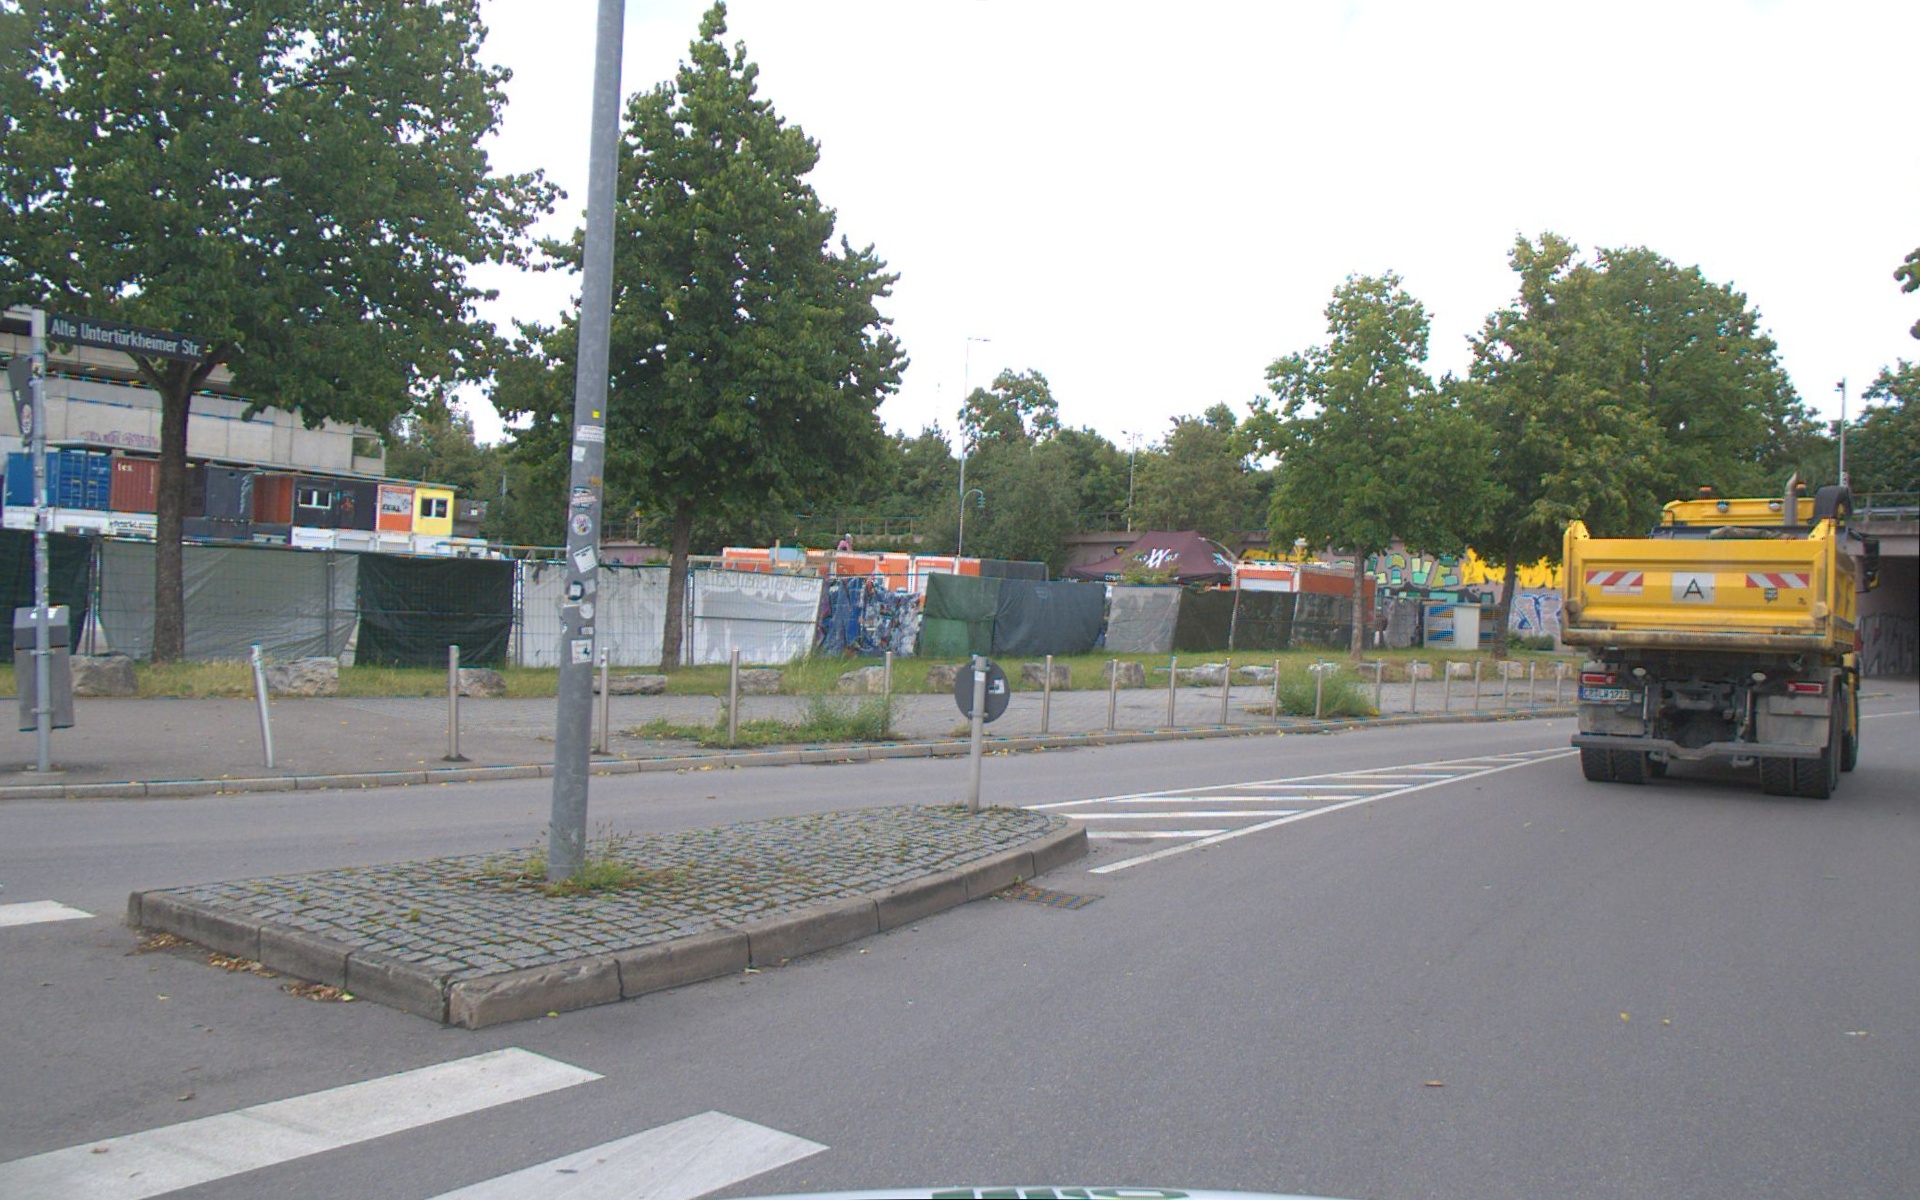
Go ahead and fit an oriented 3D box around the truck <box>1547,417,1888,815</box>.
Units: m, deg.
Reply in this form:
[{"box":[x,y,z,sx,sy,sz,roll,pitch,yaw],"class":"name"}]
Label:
[{"box":[9.297,0.196,19.696,2.708,3.763,7.861,3,0,31],"class":"truck"}]
